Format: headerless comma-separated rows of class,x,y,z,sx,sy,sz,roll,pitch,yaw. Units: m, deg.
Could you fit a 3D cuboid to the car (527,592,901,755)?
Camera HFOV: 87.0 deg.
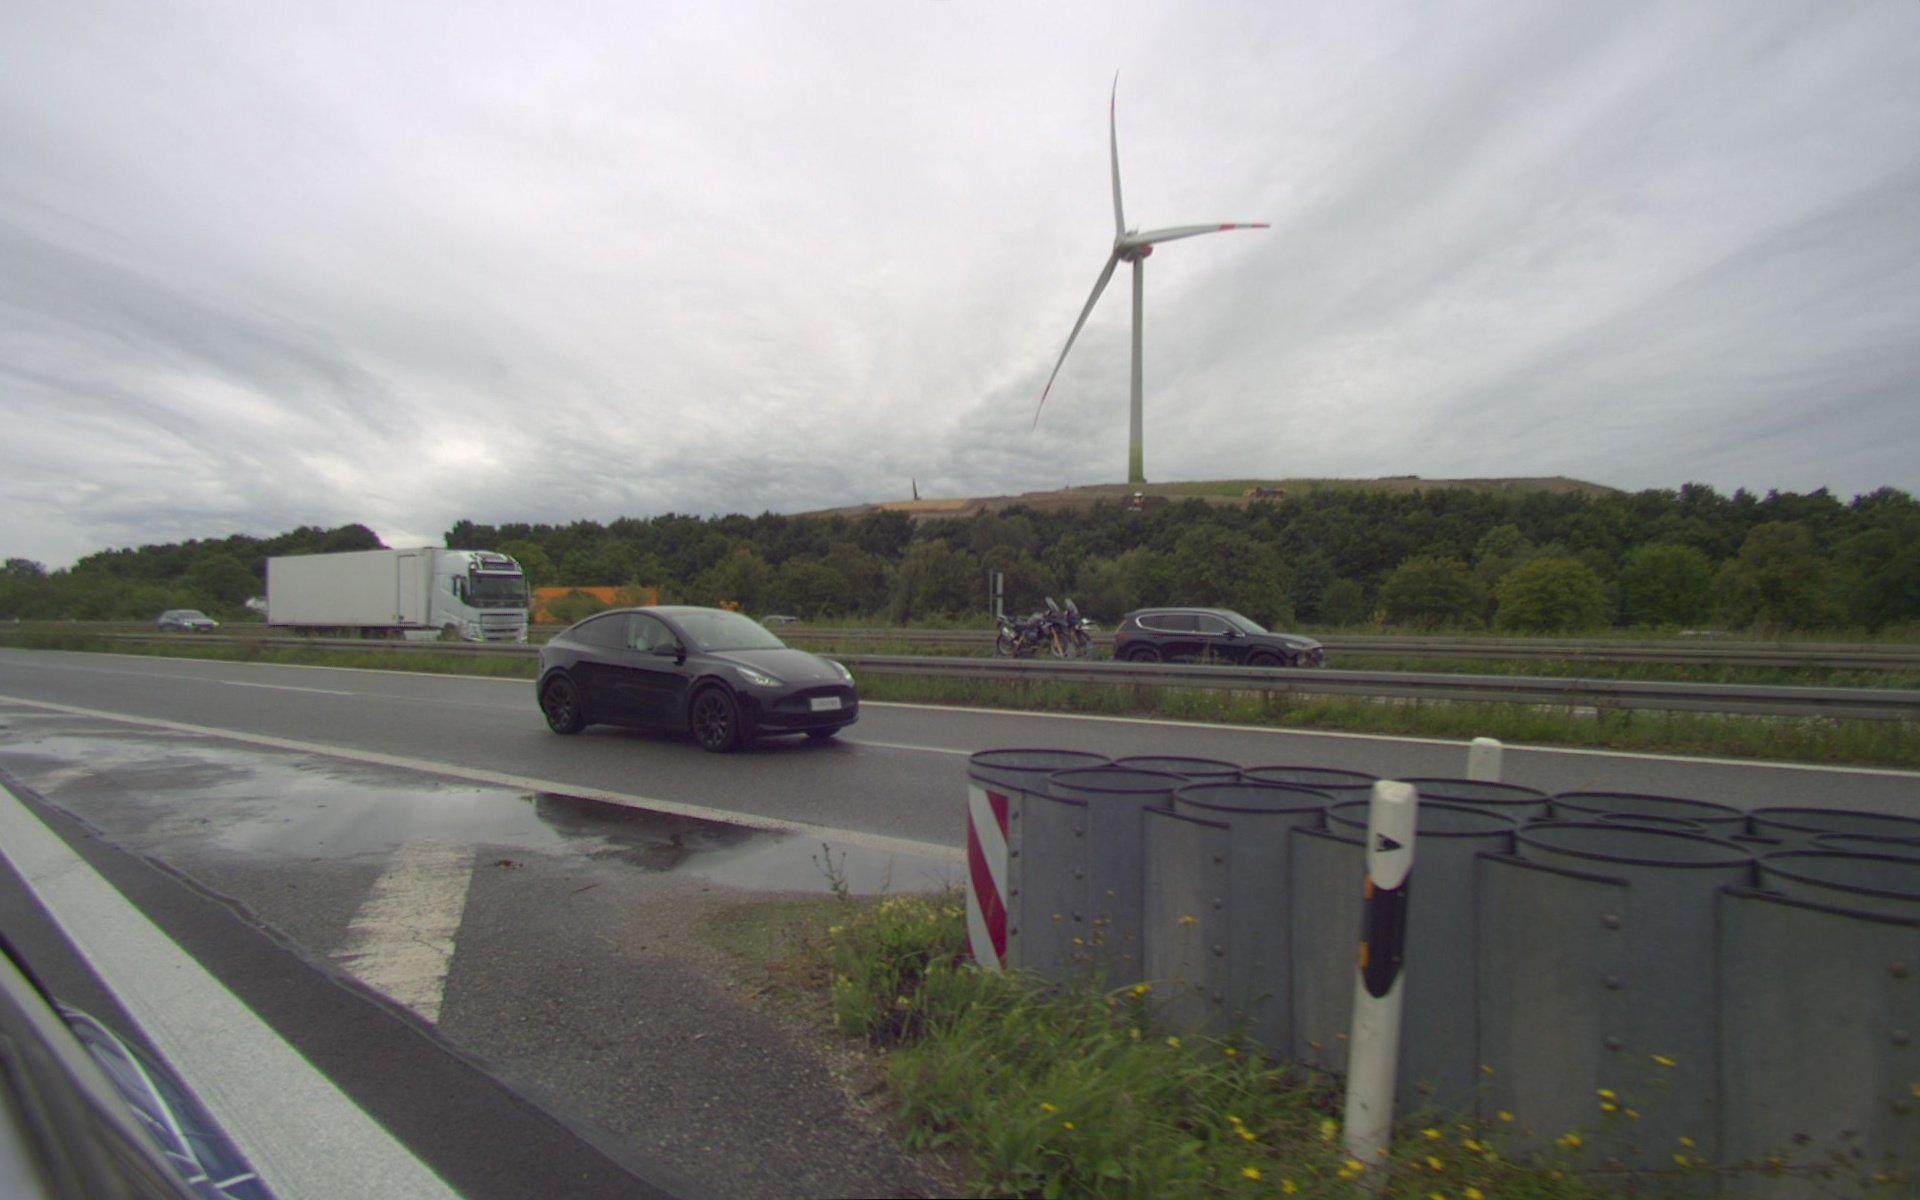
car,-3.093,0.737,12.353,4.543,1.650,1.944,0,0,35

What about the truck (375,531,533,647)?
truck,-19.642,-0.359,39.171,6.428,4.166,2.743,-1,0,34

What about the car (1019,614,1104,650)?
car,5.158,1.604,51.862,3.994,1.741,1.834,0,0,37

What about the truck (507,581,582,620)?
truck,-34.274,0.039,83.390,6.438,3.097,2.663,0,0,34

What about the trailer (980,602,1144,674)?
trailer,2.492,0.871,24.975,3.602,1.638,1.866,0,0,35

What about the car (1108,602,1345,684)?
car,5.892,0.879,22.611,4.795,1.638,1.866,0,0,35

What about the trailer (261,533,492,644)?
trailer,-25.016,-0.371,42.830,13.915,4.166,2.743,-1,0,34

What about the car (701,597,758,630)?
car,-17.489,1.017,76.706,3.989,2.394,2.006,-1,-1,34

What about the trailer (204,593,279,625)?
trailer,-81.627,1.033,114.886,11.770,3.429,2.935,-1,-1,34

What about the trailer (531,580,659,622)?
trailer,-28.876,0.050,79.677,12.533,3.097,2.663,0,0,34

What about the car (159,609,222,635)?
car,-49.424,1.397,64.991,4.473,1.663,1.883,-1,-1,33
